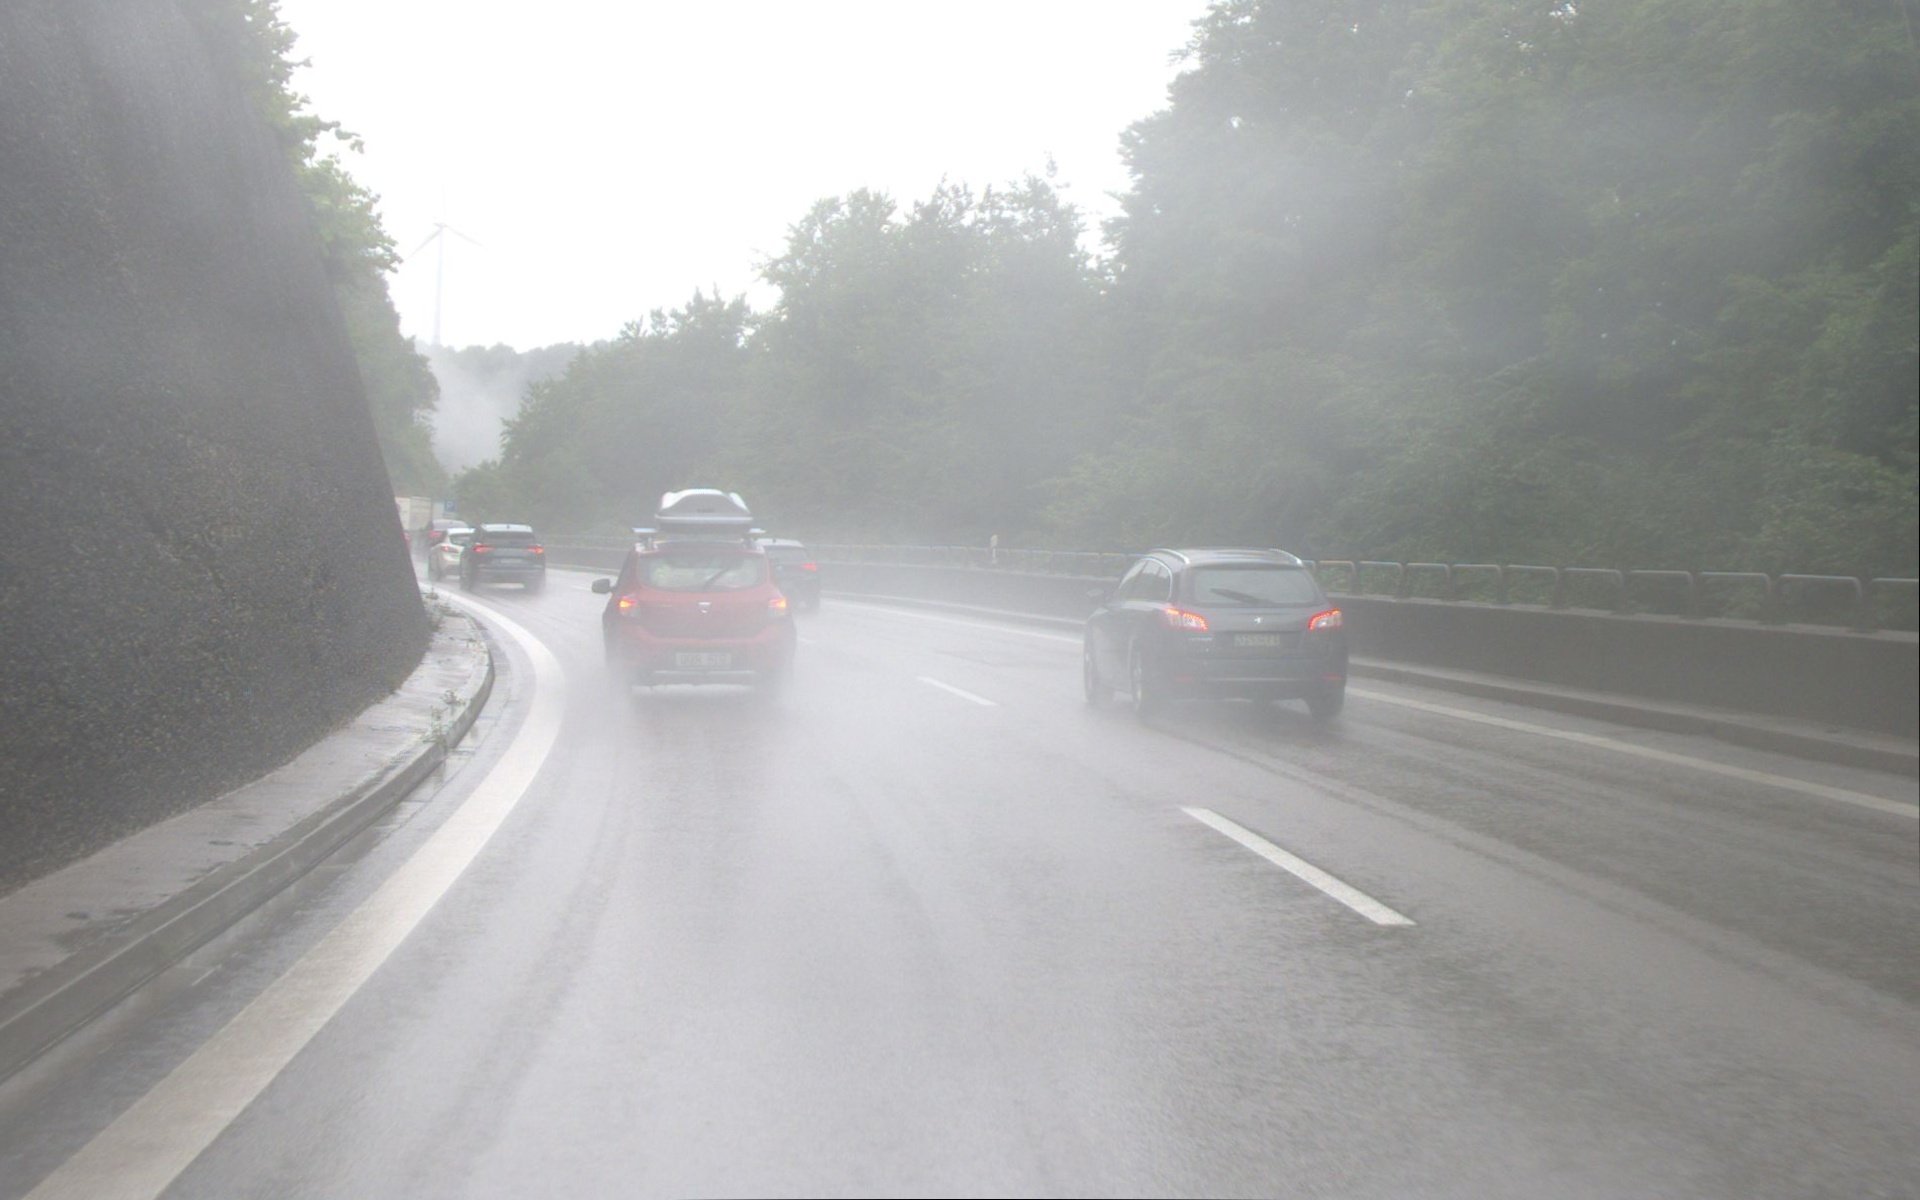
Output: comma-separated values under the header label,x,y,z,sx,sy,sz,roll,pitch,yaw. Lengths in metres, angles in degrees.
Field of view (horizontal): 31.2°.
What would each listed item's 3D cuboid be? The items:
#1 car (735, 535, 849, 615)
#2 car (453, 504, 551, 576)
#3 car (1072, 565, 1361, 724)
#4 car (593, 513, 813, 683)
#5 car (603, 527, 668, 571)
label,x,y,z,sx,sy,sz,roll,pitch,yaw
car,-3.459,-0.535,70.212,1.993,1.546,4.001,1,1,-7
car,-11.199,-1.437,83.875,1.993,1.678,4.001,1,0,-12
car,2.192,0.354,30.454,1.800,1.303,4.001,0,0,-7
car,-2.530,-0.040,33.472,1.993,1.547,4.001,0,1,-5
car,-11.171,-1.748,118.083,1.800,1.462,4.001,0,0,-11
